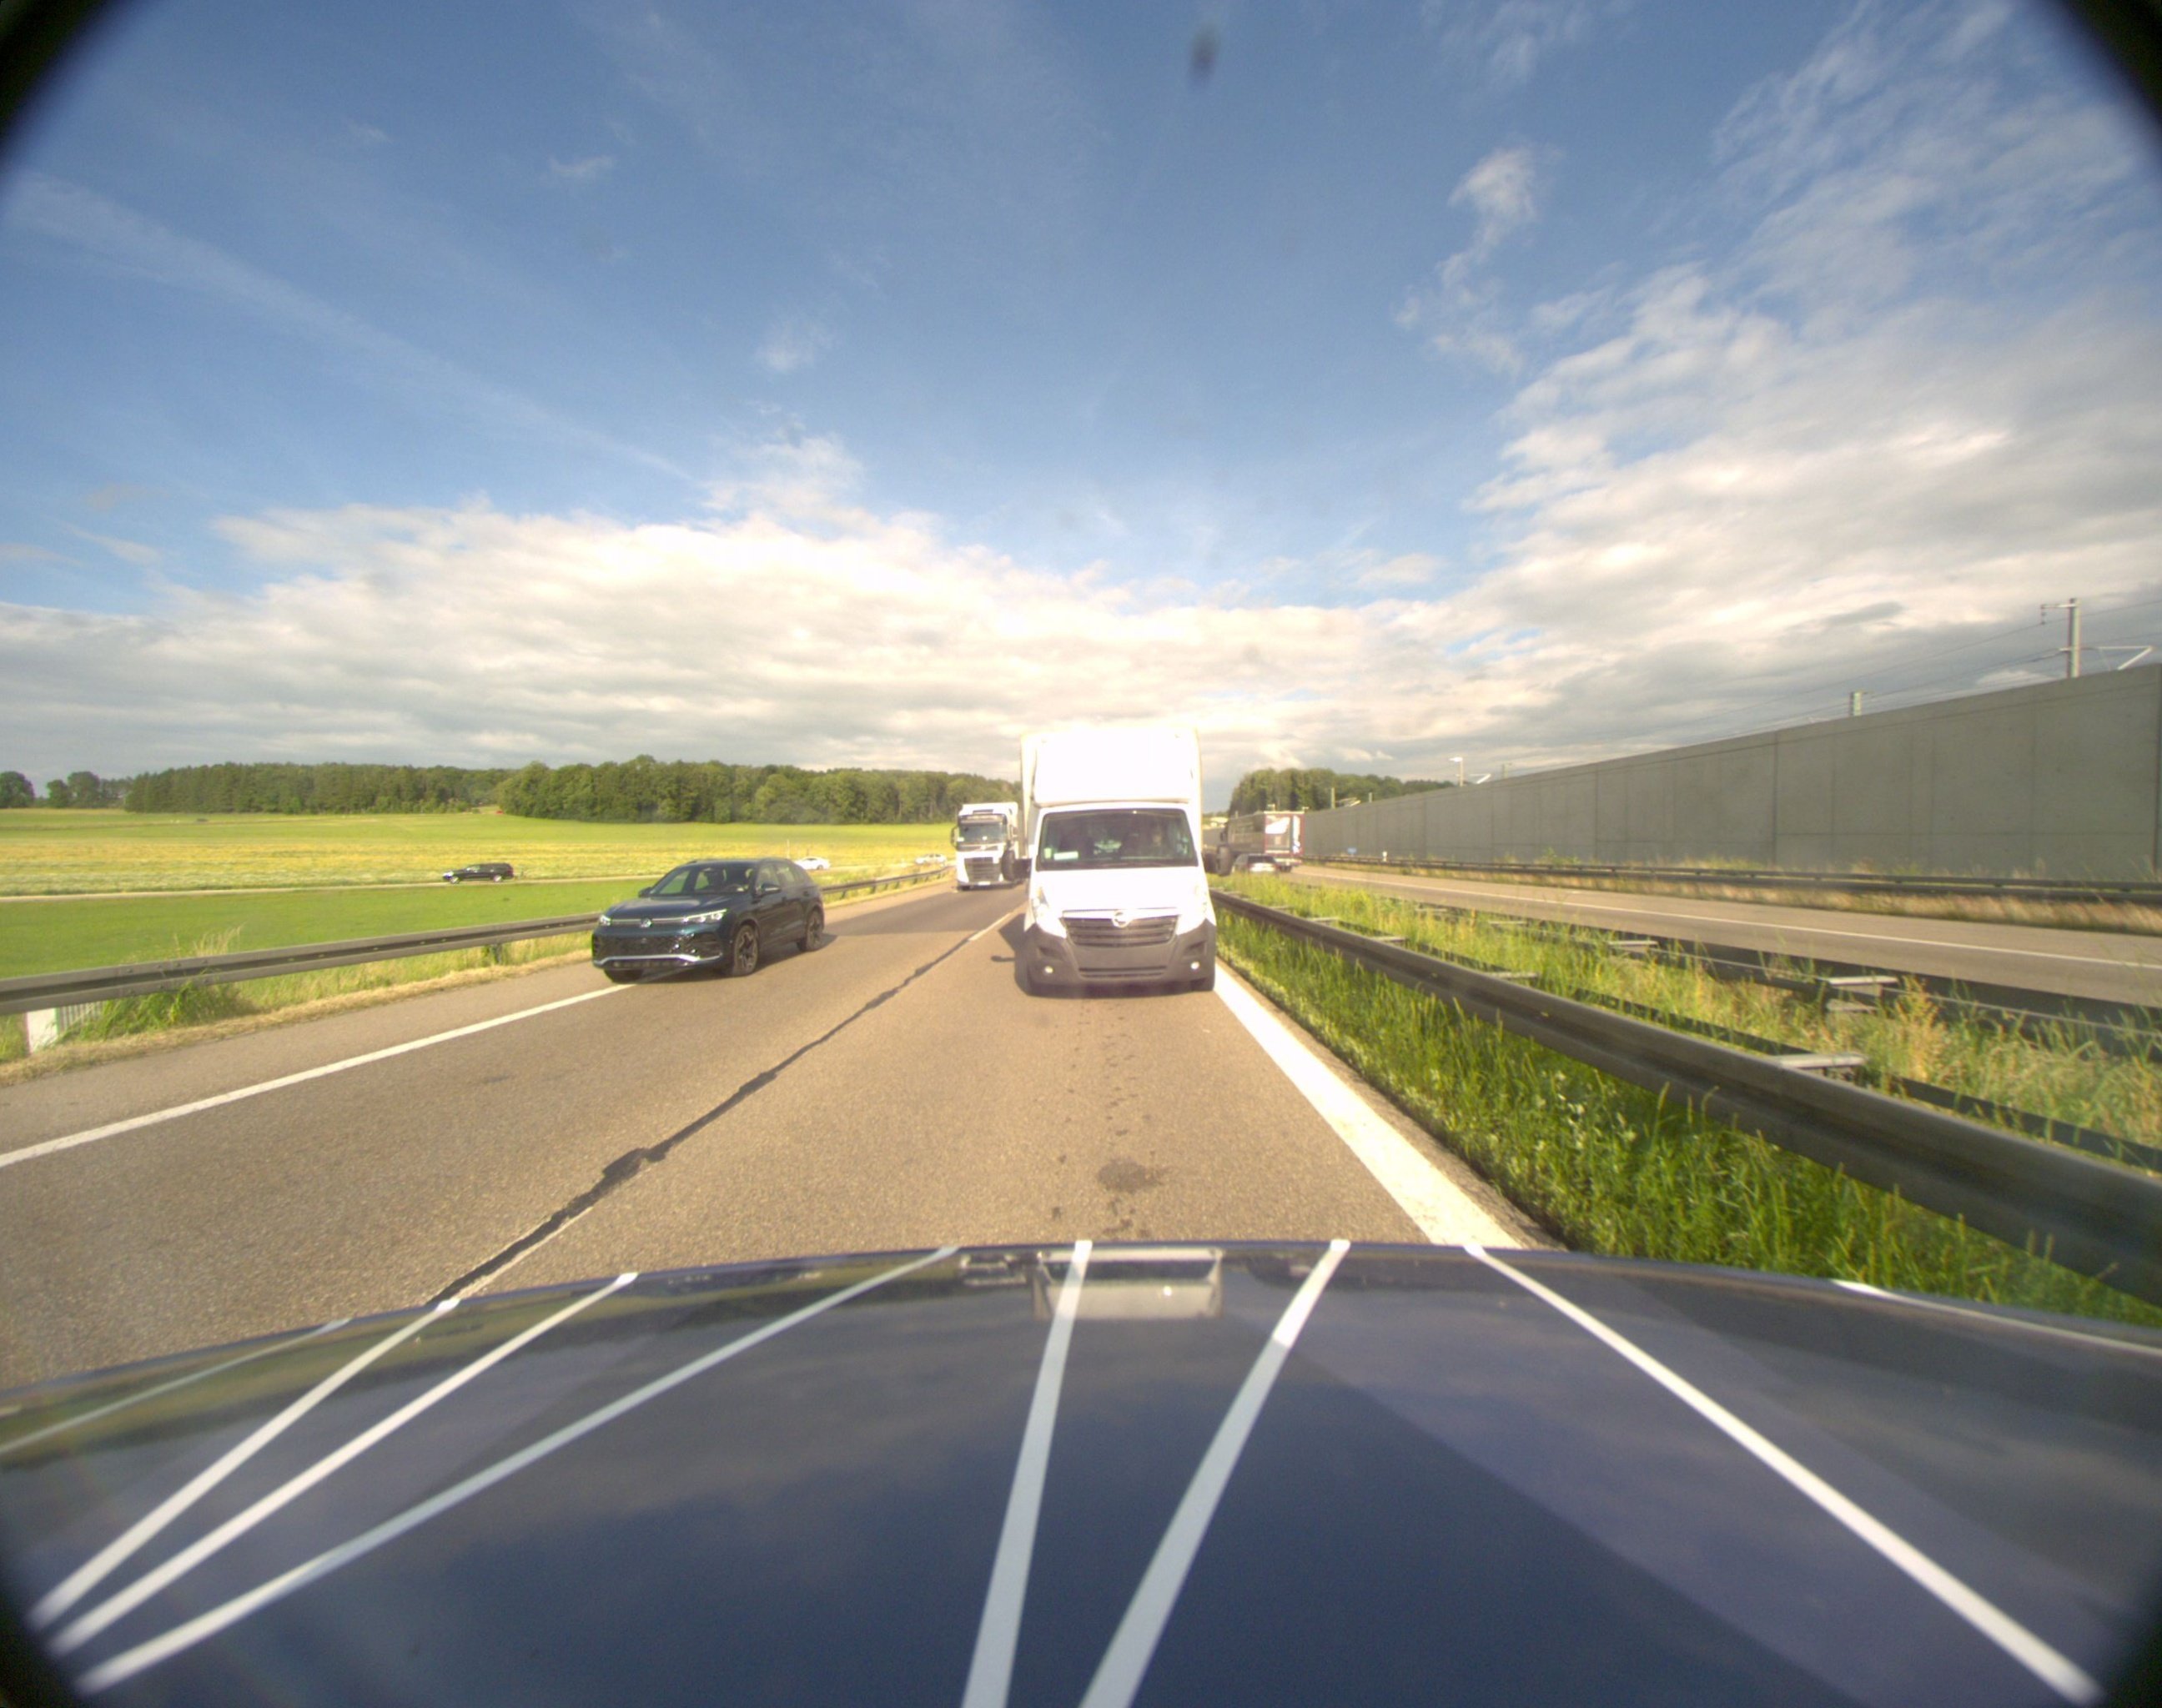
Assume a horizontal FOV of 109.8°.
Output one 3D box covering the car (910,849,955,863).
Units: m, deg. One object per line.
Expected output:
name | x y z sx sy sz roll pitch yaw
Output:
car | -18.611 0.268 95.115 5.087 1.537 1.996 -3 1 -27

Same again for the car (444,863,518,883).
car | -54.429 1.671 68.999 5.130 1.548 1.995 -3 1 -39

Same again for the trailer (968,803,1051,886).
trailer | -3.758 -0.549 43.350 2.826 3.959 12.128 -2 1 3

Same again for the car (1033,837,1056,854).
car | -3.938 -0.924 82.516 1.998 1.647 4.000 -2 1 2

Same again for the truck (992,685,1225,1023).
truck | 0.466 -0.053 10.995 2.059 3.088 7.804 -2 1 3

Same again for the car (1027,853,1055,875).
car | -3.325 0.801 63.800 1.998 1.647 4.000 -2 1 2

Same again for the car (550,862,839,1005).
car | -5.427 1.008 11.417 1.998 1.587 4.119 -2 1 3

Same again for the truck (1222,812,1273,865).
truck | 13.482 -1.239 62.154 2.760 4.067 6.952 -2 1 2

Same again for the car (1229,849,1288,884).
car | 8.485 0.559 36.758 1.907 1.455 4.183 -2 1 1

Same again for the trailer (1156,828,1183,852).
trailer | 14.529 -2.287 125.455 2.547 3.749 12.536 0 1 -2

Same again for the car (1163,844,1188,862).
car | 9.299 -0.093 75.092 1.893 1.622 5.110 -2 1 2

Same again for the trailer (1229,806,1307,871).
trailer | 13.304 -1.117 55.412 2.766 4.091 12.903 -2 1 1

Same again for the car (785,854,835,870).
car | -30.751 0.874 86.368 5.087 1.537 1.996 -3 1 -27

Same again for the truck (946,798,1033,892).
truck | -4.159 -0.426 36.130 2.841 3.967 6.501 -2 1 3
